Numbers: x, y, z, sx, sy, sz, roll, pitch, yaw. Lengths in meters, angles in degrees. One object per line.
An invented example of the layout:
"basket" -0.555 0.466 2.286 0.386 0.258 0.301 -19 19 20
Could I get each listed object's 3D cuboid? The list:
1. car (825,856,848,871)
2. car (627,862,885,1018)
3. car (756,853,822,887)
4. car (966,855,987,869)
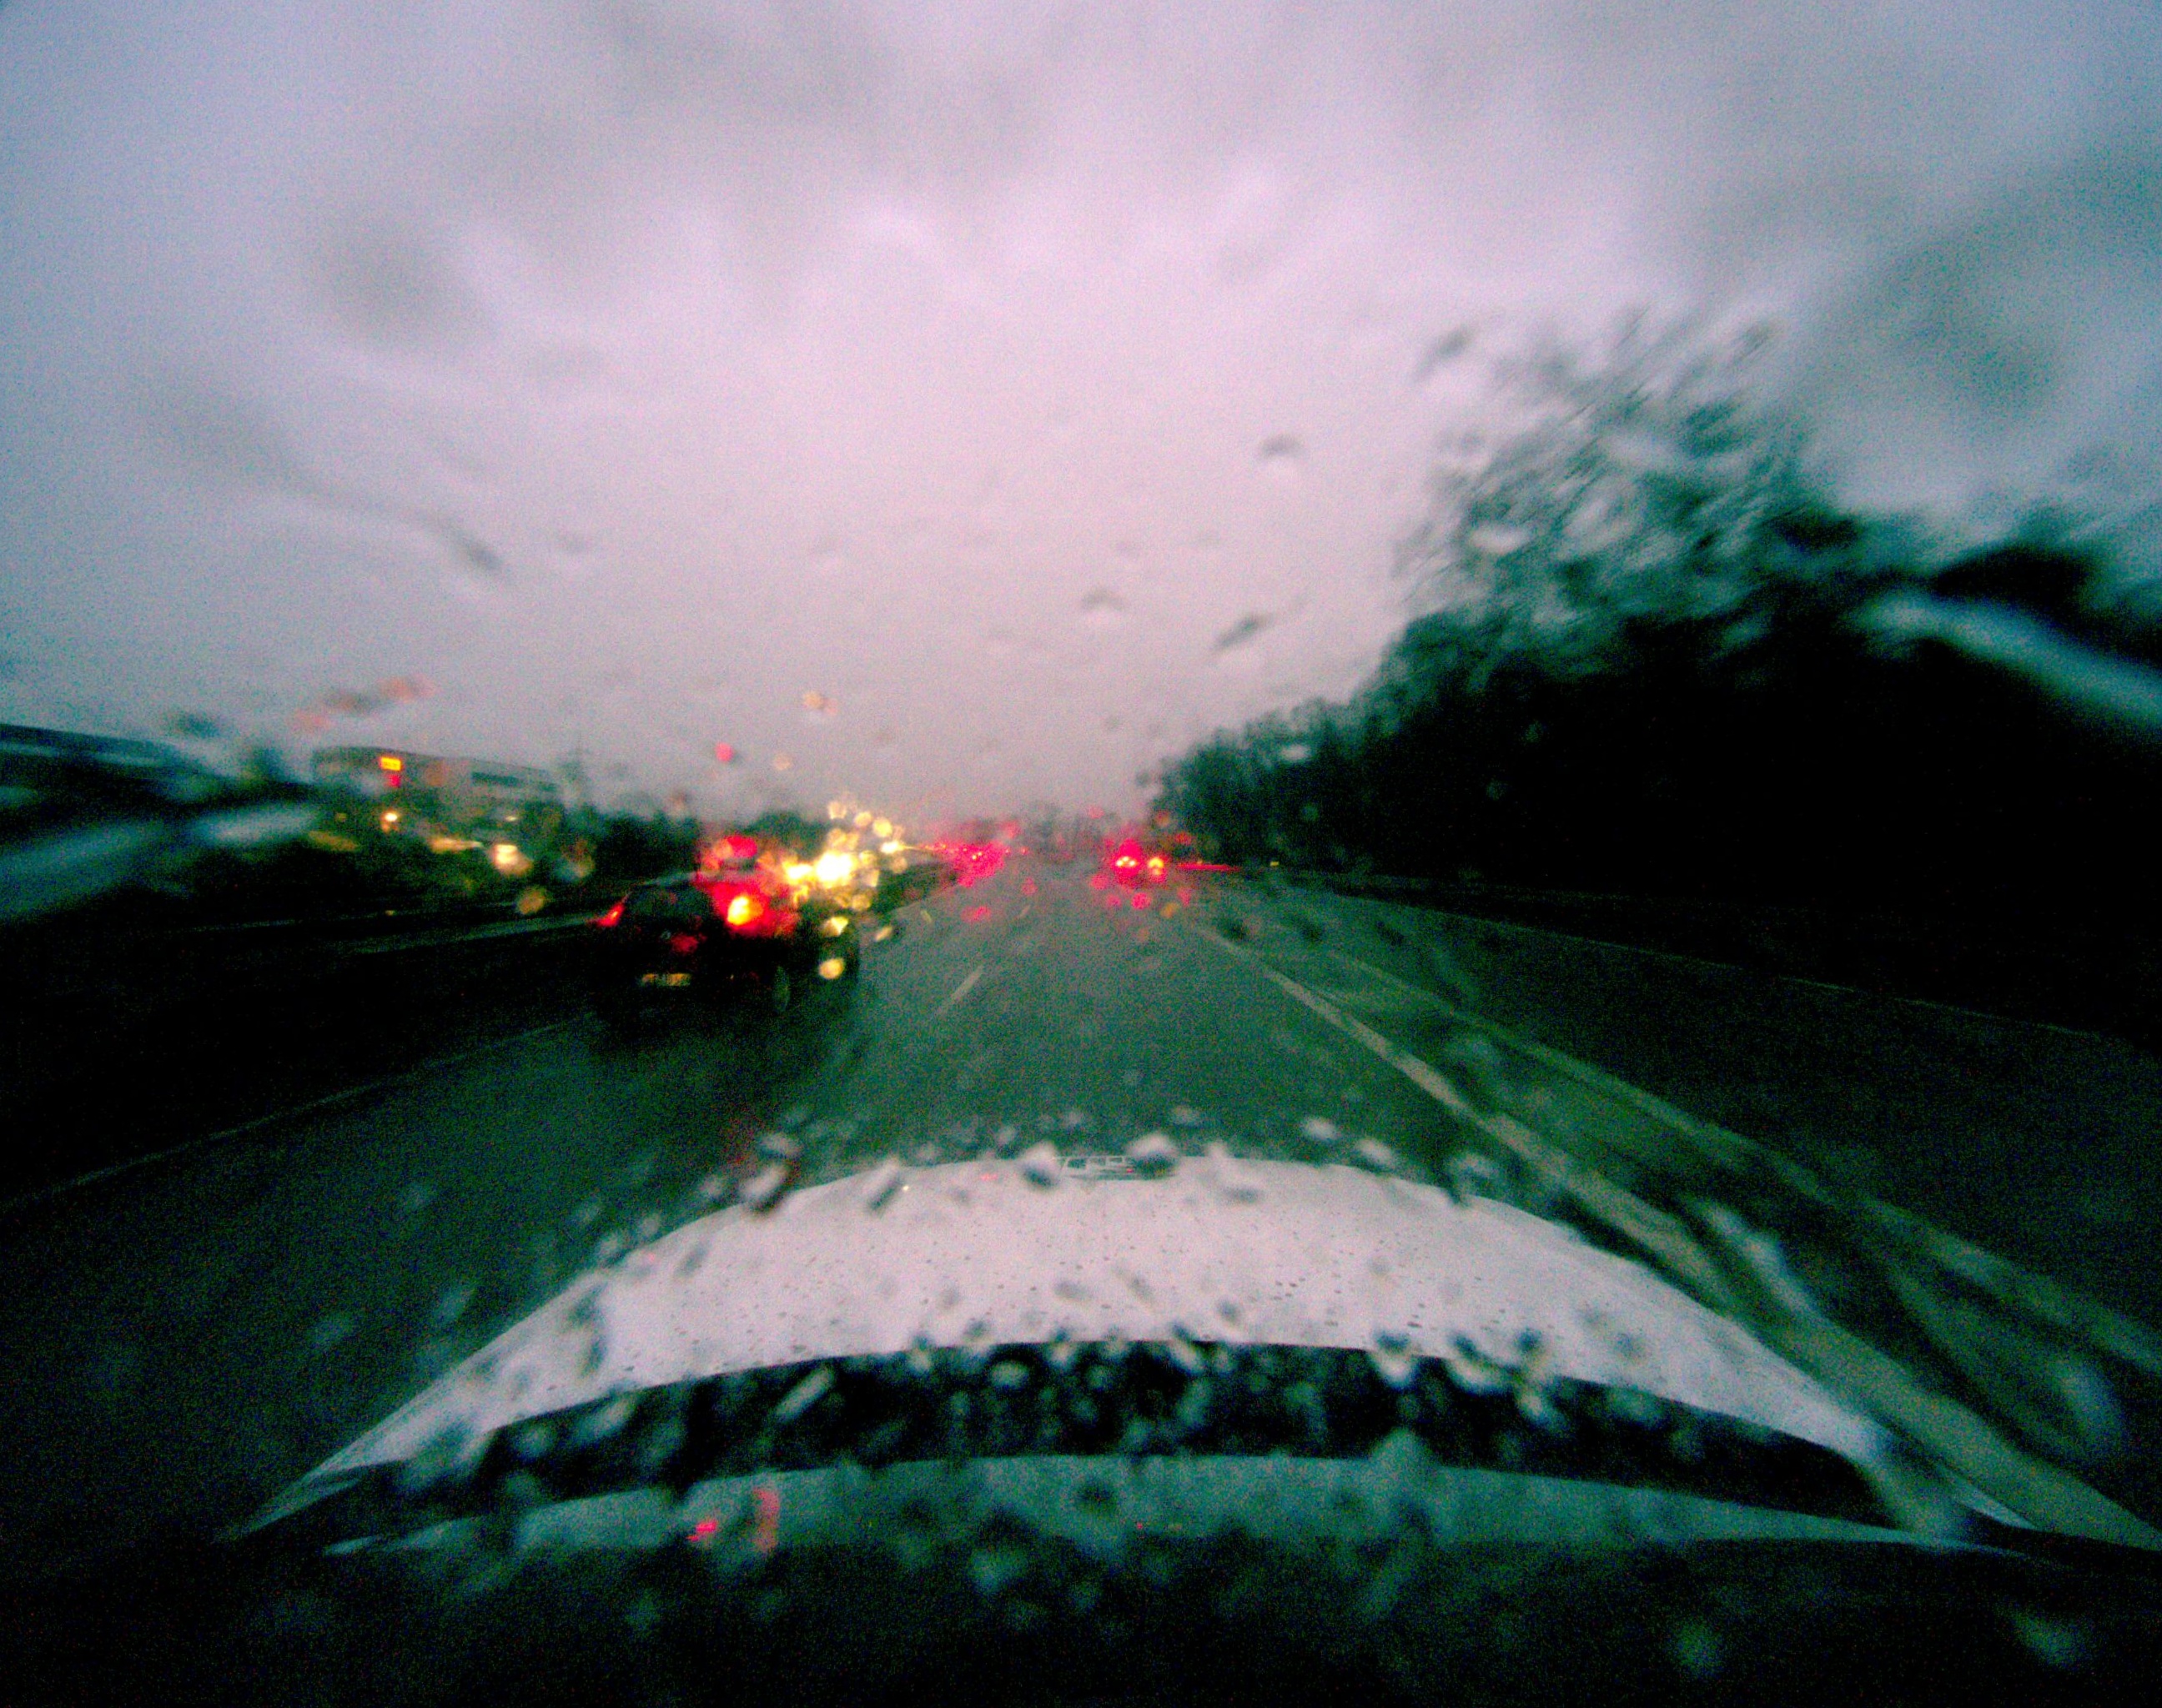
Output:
"car" -23.815 0.897 79.445 1.671 1.420 4.067 -1 0 -10
"car" -3.503 0.815 9.603 1.622 1.392 3.995 0 0 -3
"car" -15.555 0.804 43.658 1.987 1.673 4.427 -1 0 -1
"car" -11.438 0.901 88.992 1.838 1.537 3.979 1 -1 -15
